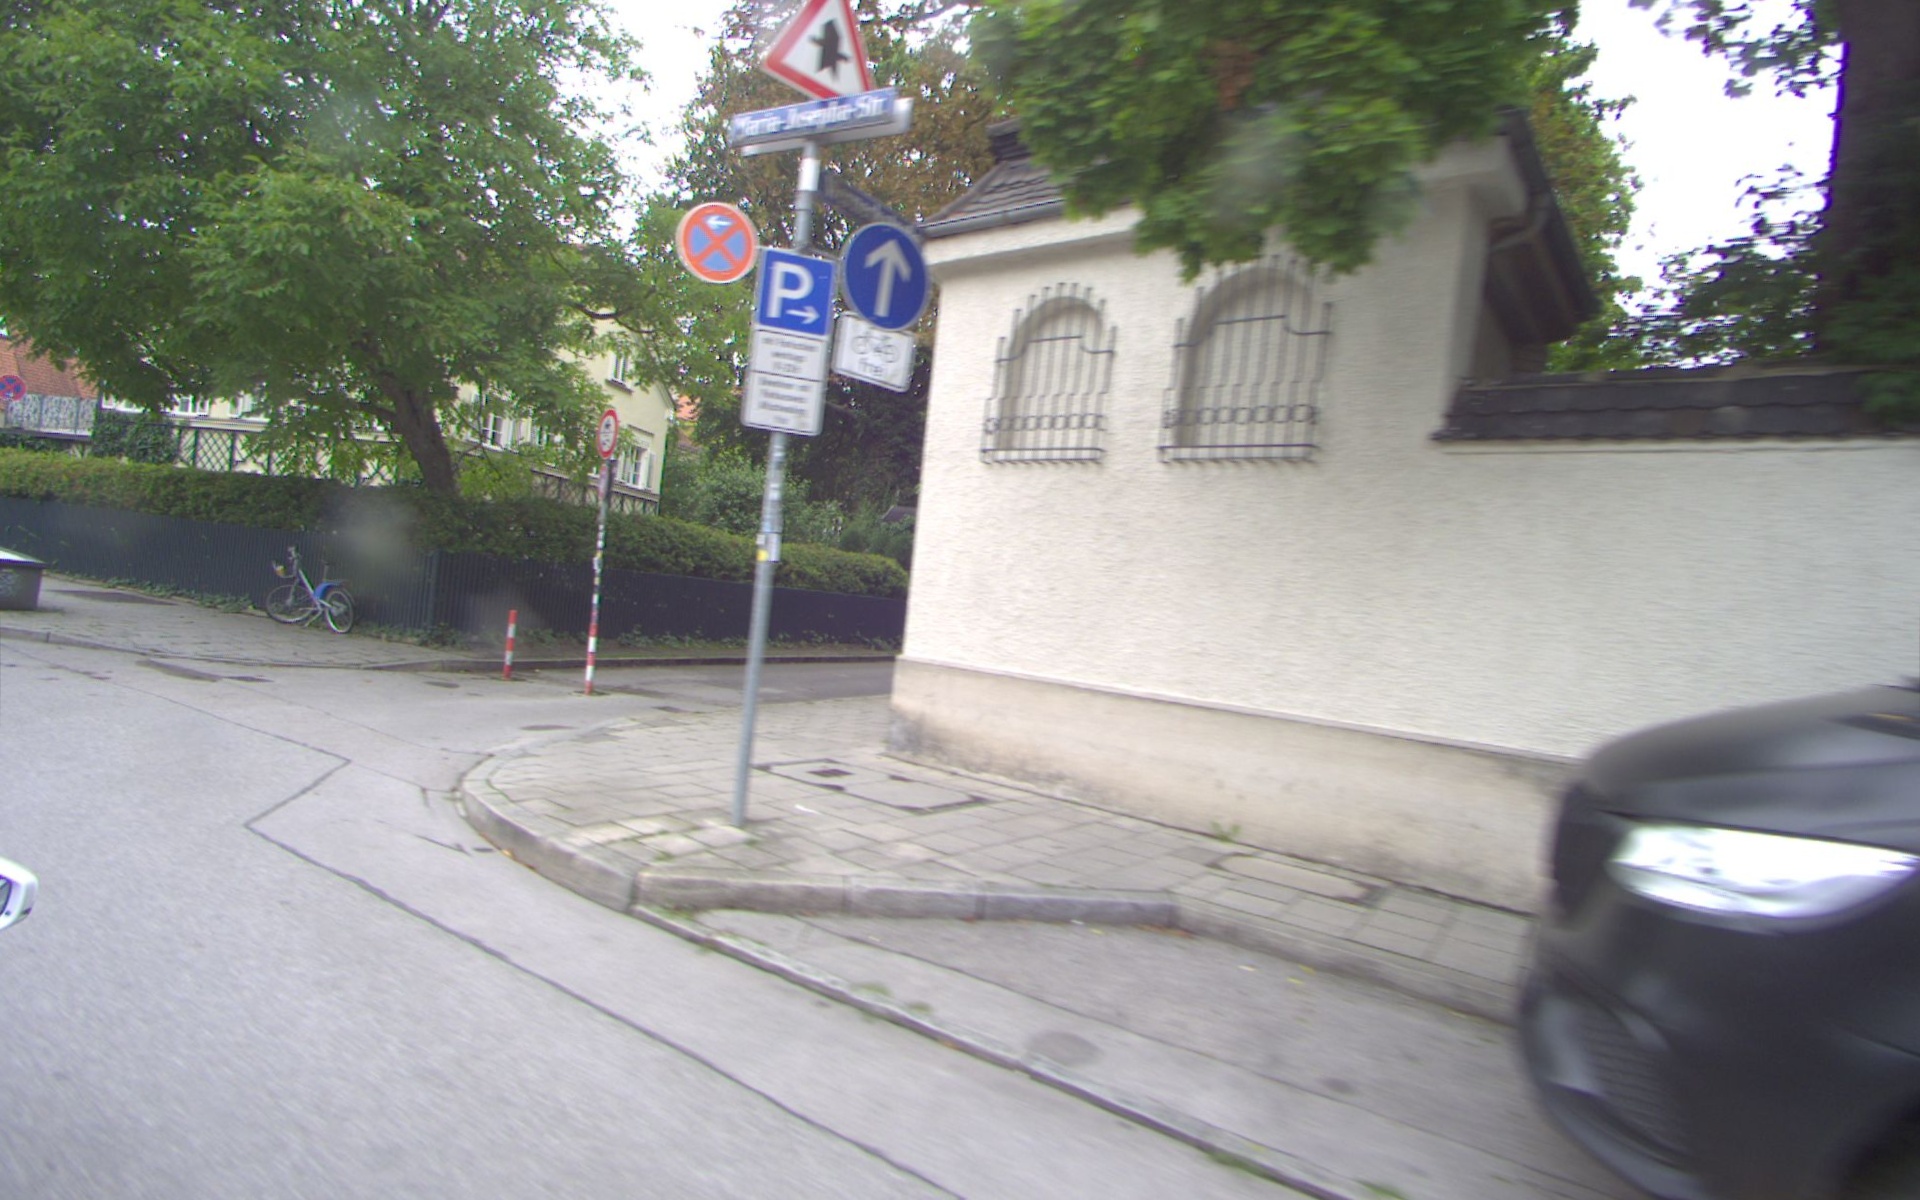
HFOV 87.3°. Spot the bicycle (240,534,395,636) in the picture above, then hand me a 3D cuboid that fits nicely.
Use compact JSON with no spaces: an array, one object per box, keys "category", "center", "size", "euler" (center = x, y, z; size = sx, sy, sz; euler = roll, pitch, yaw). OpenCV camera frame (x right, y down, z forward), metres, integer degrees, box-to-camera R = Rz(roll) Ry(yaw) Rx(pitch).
[{"category":"bicycle","center":[-8.981,-0.206,14.052],"size":[1.937,1.176,0.808],"euler":[7,0,24]}]

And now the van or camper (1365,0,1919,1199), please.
[{"category":"van or camper","center":[4.591,0.459,1.148],"size":[7.158,2.942,2.274],"euler":[7,0,33]}]
